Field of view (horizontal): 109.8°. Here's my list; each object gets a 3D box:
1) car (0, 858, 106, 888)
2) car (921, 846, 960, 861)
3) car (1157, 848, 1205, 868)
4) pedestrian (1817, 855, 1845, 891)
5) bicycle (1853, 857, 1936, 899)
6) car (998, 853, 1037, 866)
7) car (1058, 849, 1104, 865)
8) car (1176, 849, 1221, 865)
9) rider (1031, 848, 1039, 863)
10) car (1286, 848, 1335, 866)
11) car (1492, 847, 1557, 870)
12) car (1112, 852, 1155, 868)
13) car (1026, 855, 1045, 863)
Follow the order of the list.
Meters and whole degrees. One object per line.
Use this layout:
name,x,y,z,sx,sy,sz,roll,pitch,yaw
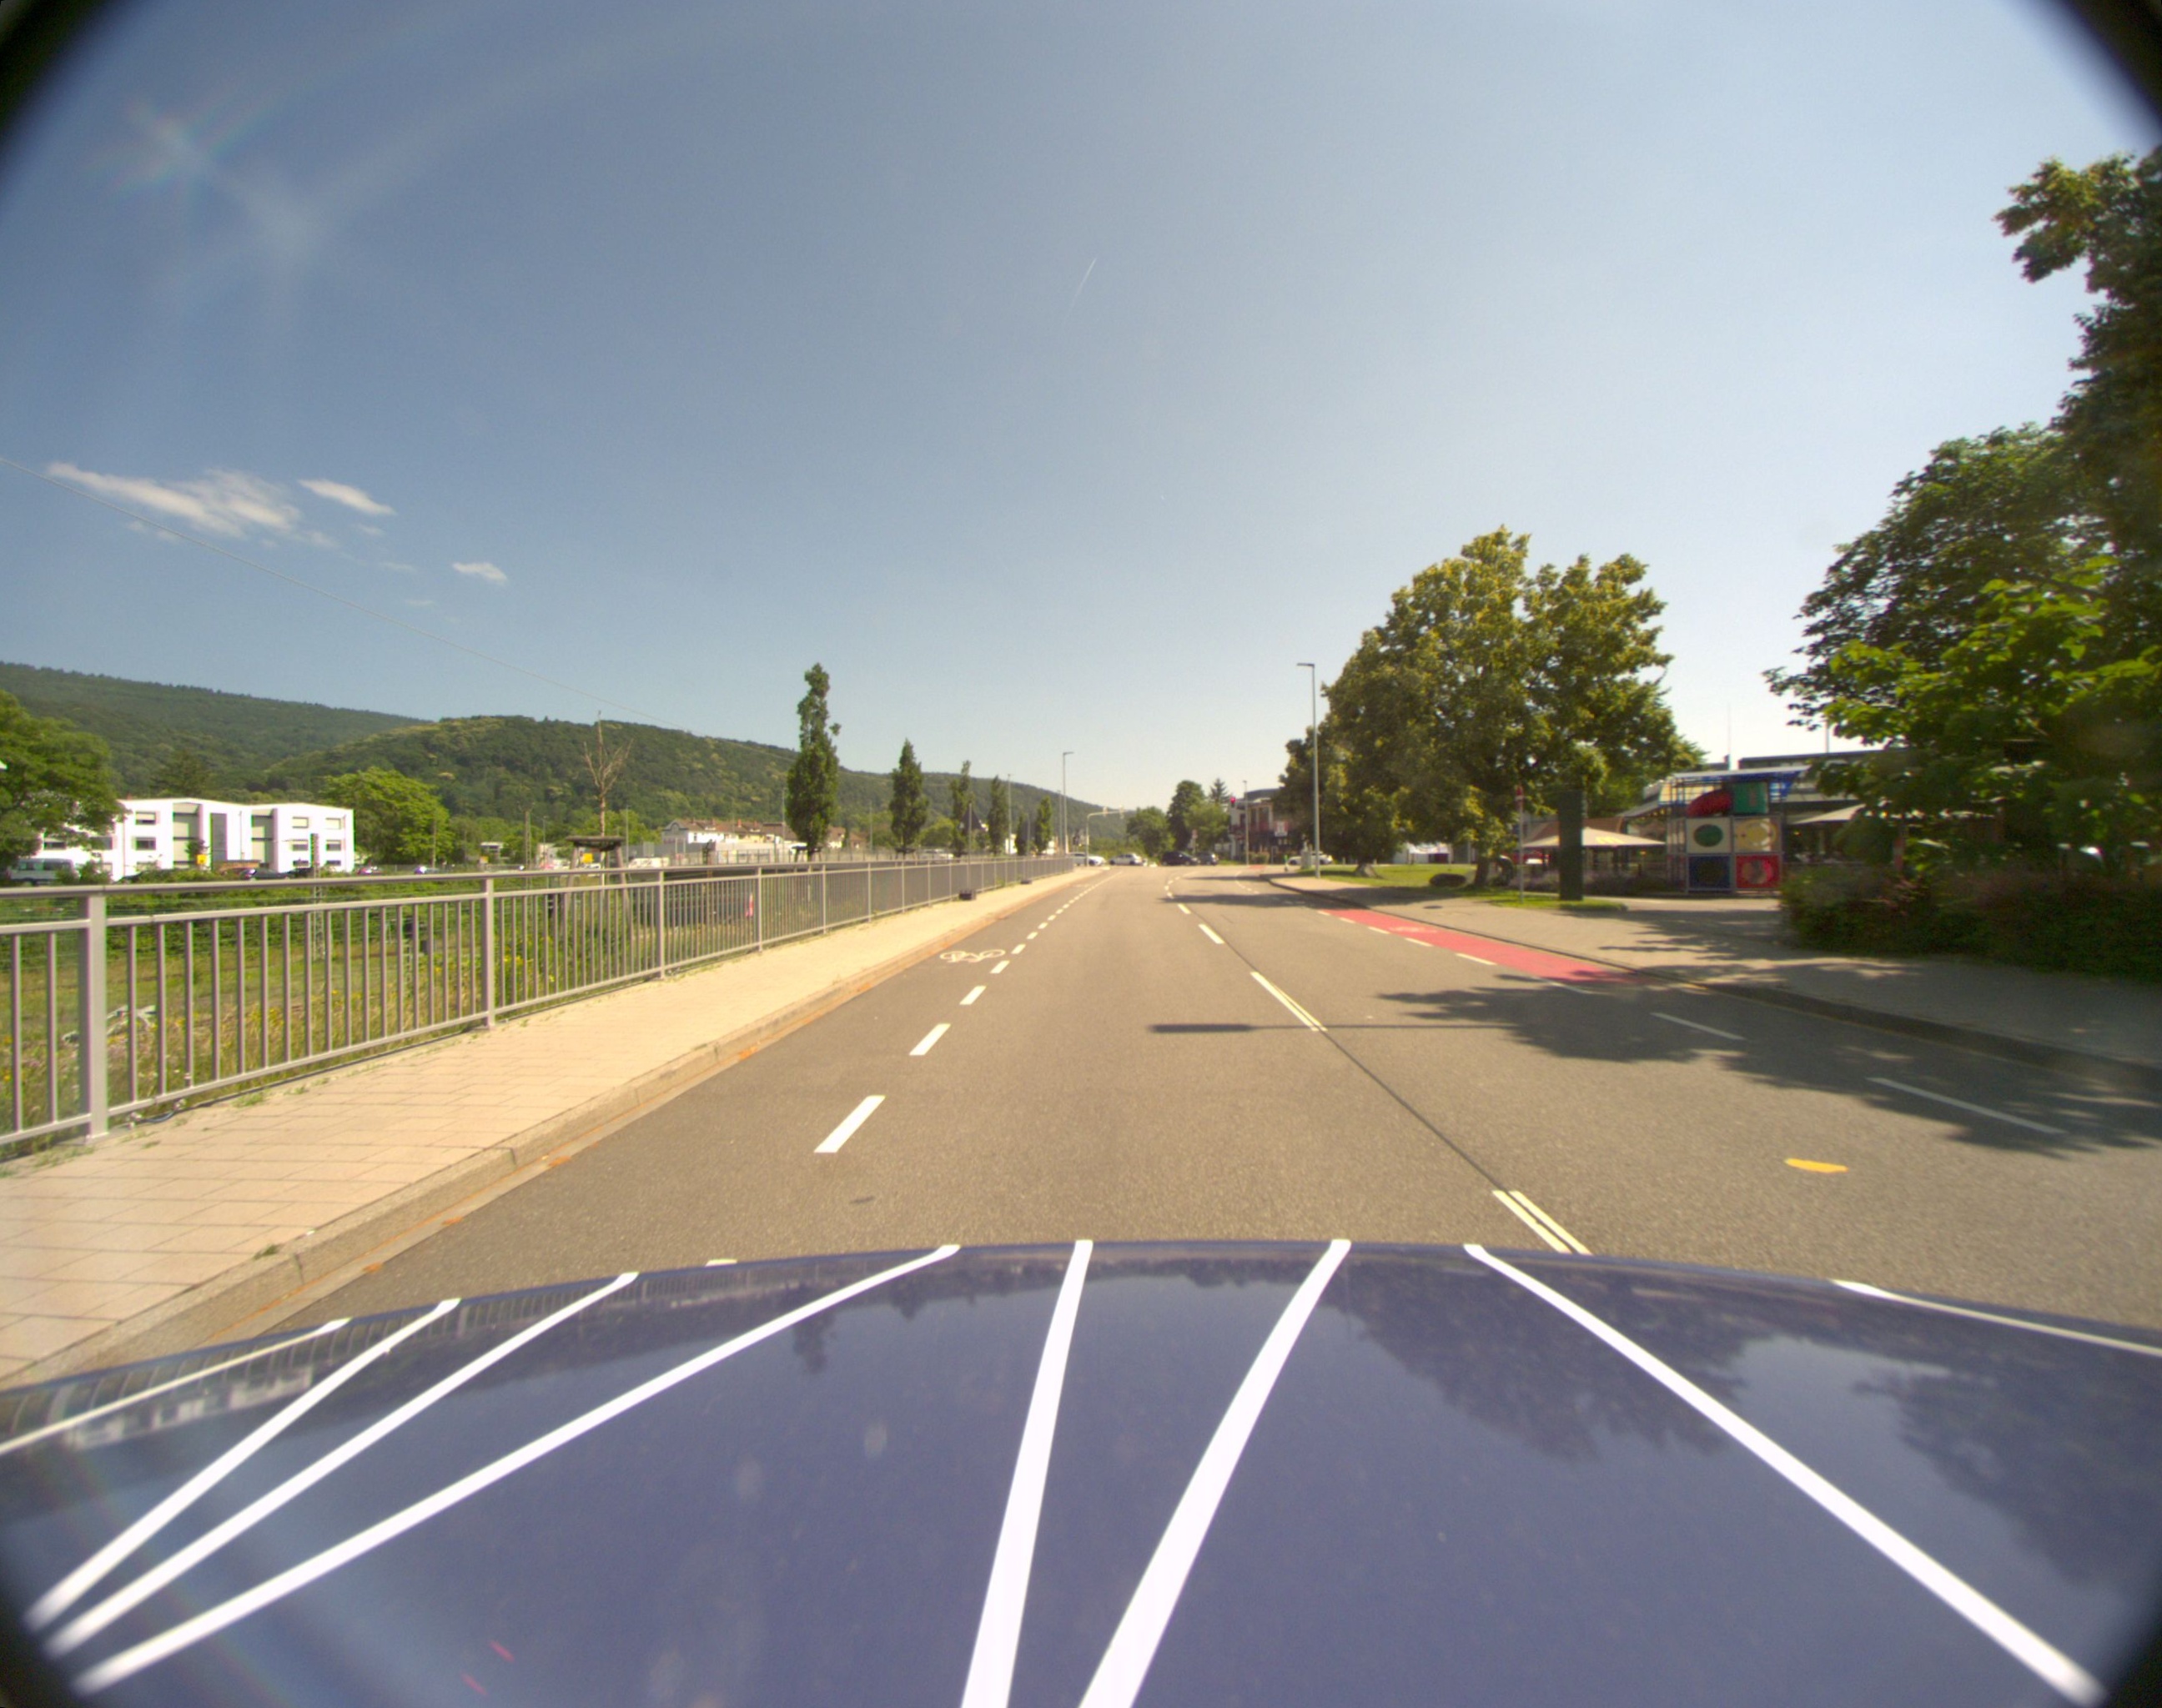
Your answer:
car,-84.800,1.531,62.257,2.132,2.090,5.523,-5,1,13
car,-17.125,-0.077,92.811,4.568,1.643,1.834,0,4,33
car,10.068,0.399,76.587,4.358,1.839,1.834,0,4,32
pedestrian,26.662,0.663,27.010,0.551,1.203,0.593,-6,1,36
bicycle,23.903,0.717,22.348,1.608,1.180,0.310,-3,2,33
car,-7.668,0.670,92.095,4.359,1.483,1.834,-1,4,30
car,0.032,0.311,83.087,4.754,1.643,1.834,0,4,34
car,12.476,0.307,80.624,4.359,1.618,1.834,-1,4,30
rider,-5.753,0.181,94.406,0.684,1.804,0.548,0,4,30
car,22.639,0.337,75.011,4.359,1.618,1.834,-1,4,30
car,35.147,0.339,60.367,4.359,1.670,1.834,-1,4,29
car,5.902,0.670,84.770,4.359,1.618,1.834,-1,4,30
car,-5.641,0.650,94.400,2.376,0.897,0.576,-1,4,30
